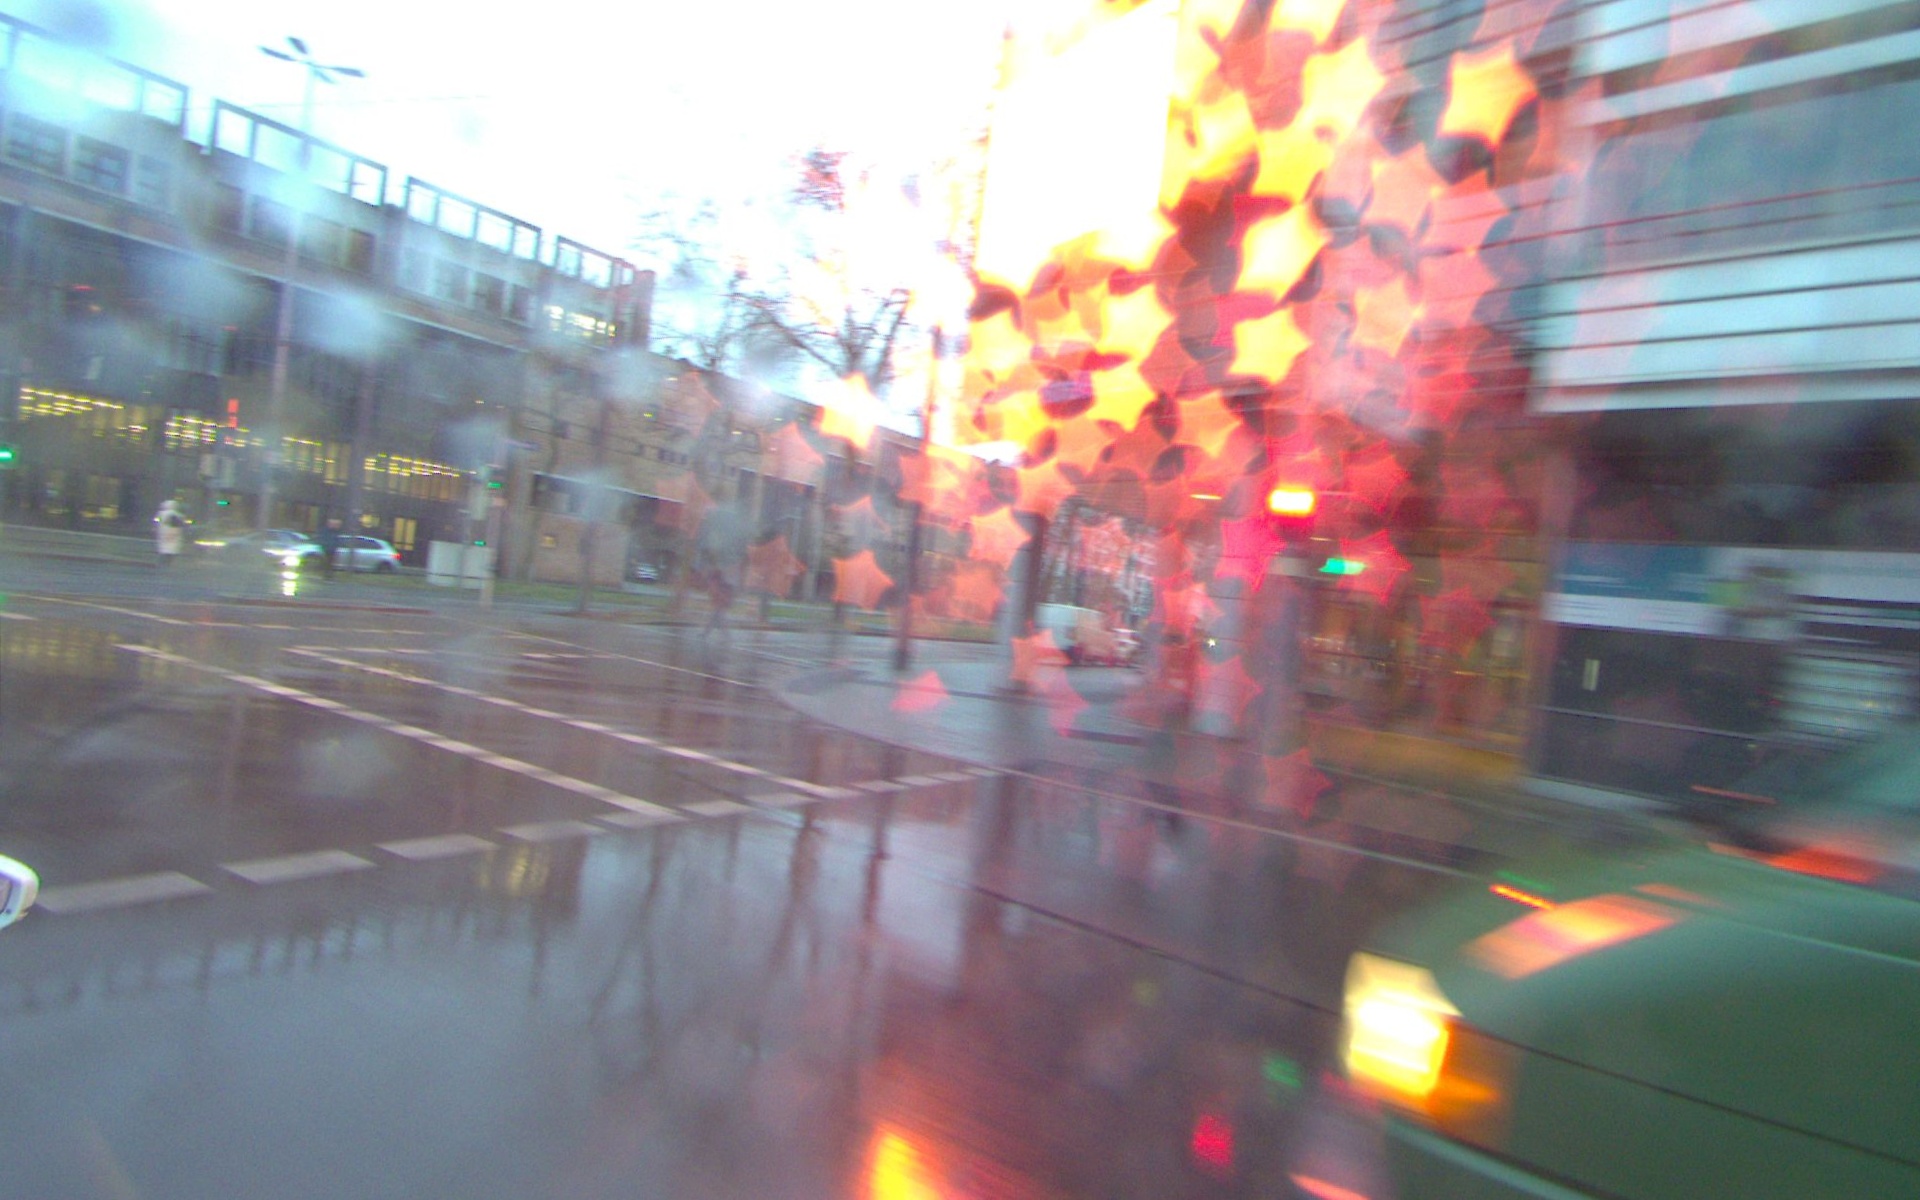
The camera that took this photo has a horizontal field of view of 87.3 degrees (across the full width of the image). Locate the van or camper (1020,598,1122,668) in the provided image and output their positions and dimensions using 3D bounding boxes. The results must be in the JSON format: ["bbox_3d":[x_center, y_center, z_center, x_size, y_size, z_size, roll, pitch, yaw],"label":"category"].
[{"bbox_3d":[3.833,1.178,33.919,1.809,1.952,4.745,7,-1,26],"label":"van or camper"}]

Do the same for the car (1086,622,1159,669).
[{"bbox_3d":[6.402,1.815,39.338,1.614,1.546,3.841,7,-1,26],"label":"car"}]

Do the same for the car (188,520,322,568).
[{"bbox_3d":[-28.316,-2.221,40.552,1.782,1.326,3.990,7,-1,27],"label":"car"}]

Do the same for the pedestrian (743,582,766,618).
[{"bbox_3d":[-8.211,0.011,40.215,0.471,1.381,0.605,7,1,33],"label":"pedestrian"}]

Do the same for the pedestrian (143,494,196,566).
[{"bbox_3d":[-21.384,-1.883,27.234,0.721,1.809,0.735,7,1,22],"label":"pedestrian"}]

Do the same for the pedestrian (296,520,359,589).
[{"bbox_3d":[-18.094,-1.285,28.784,0.764,1.809,1.151,7,1,26],"label":"pedestrian"}]

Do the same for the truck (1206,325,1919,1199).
[{"bbox_3d":[2.816,0.876,1.066,4.545,1.939,1.906,7,-2,36],"label":"truck"}]

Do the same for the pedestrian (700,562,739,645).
[{"bbox_3d":[-5.617,0.076,23.506,0.639,1.834,0.799,6,1,-8],"label":"pedestrian"}]

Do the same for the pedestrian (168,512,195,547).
[{"bbox_3d":[-33.472,-3.020,43.250,0.734,1.406,0.728,6,1,-44],"label":"pedestrian"}]

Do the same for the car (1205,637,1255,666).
[{"bbox_3d":[15.889,3.052,59.104,1.811,1.451,3.992,6,0,30],"label":"car"}]

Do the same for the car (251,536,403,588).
[{"bbox_3d":[-21.603,-1.273,34.481,1.783,1.358,3.986,7,1,28],"label":"car"}]
